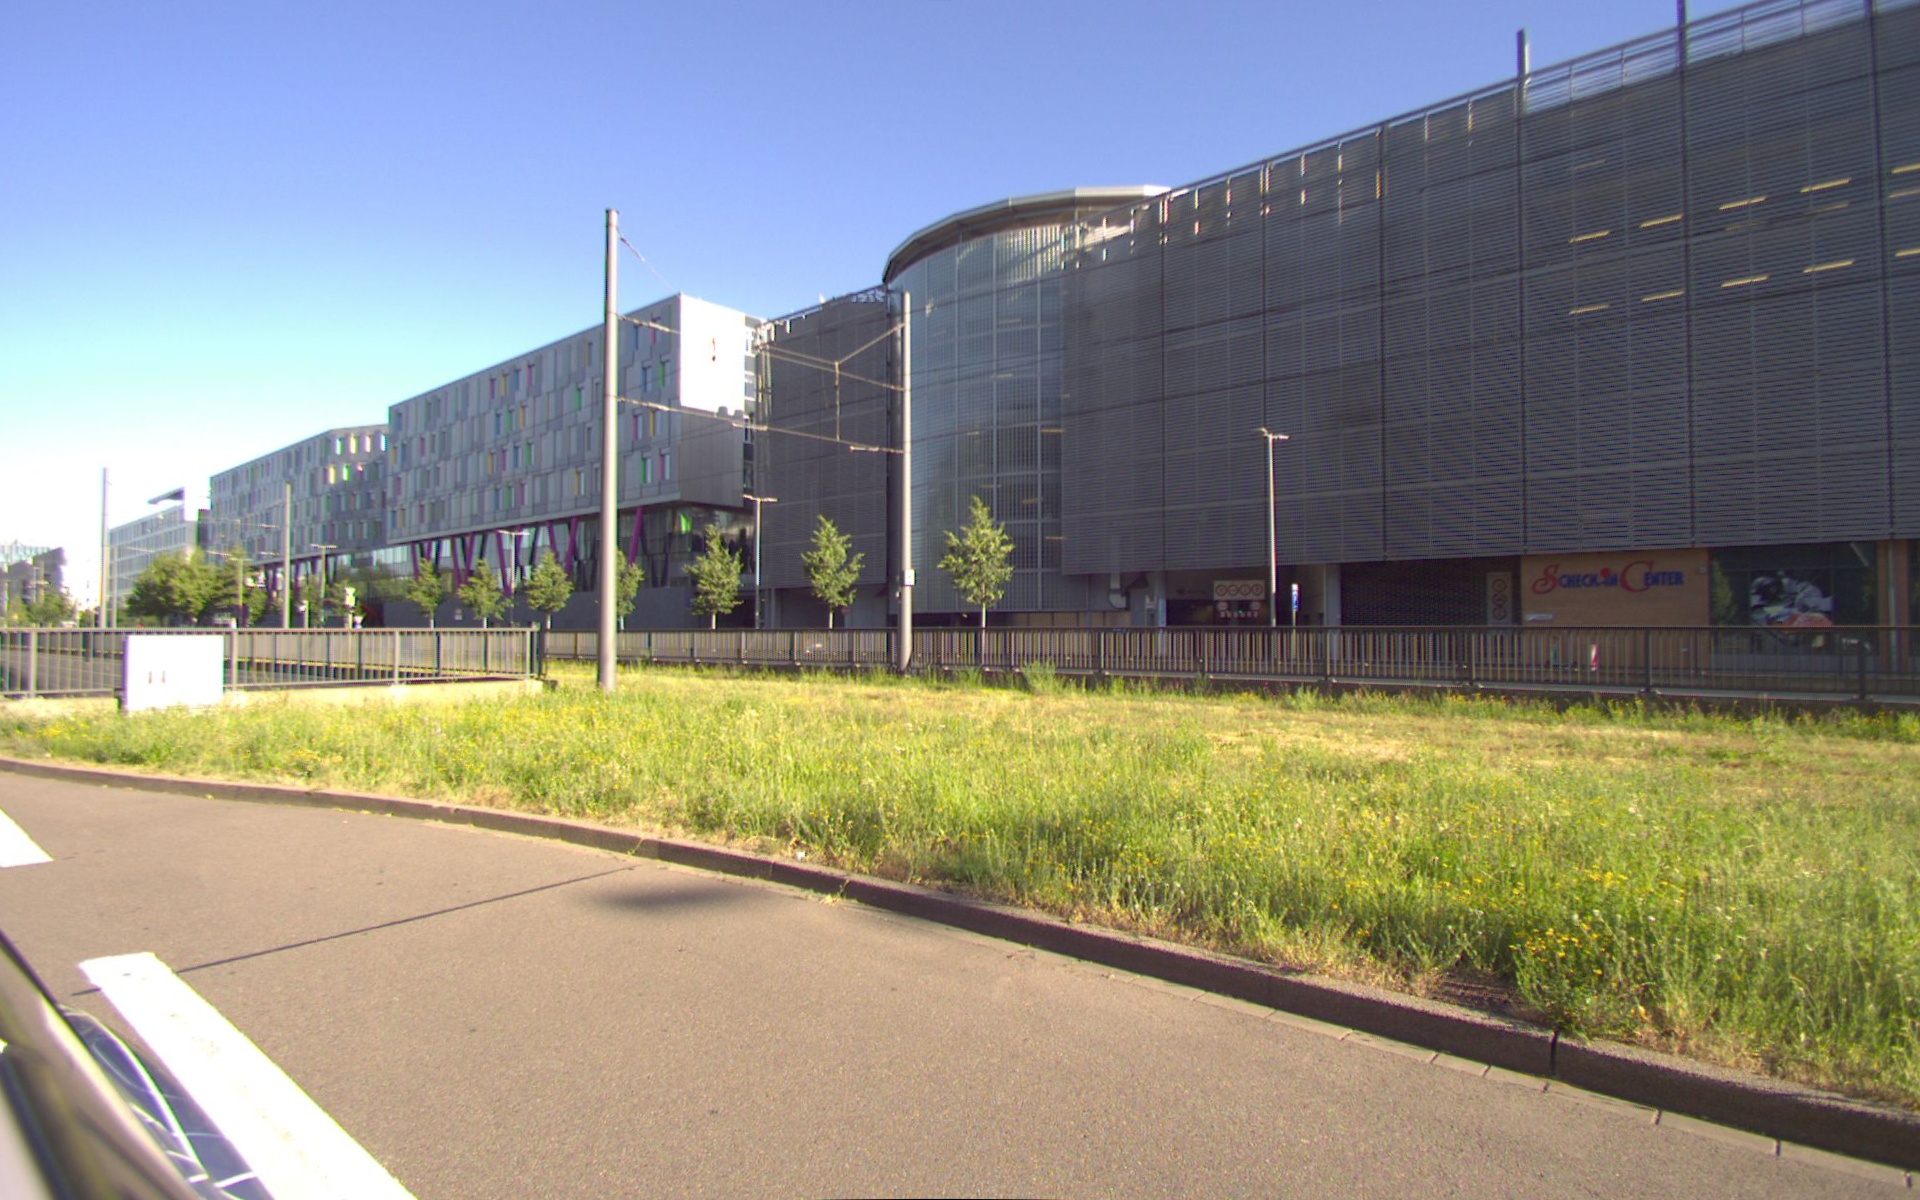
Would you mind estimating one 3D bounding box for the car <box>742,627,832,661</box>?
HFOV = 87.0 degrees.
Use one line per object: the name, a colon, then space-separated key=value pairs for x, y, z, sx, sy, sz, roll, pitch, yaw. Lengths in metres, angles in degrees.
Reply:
car: x=-8.187 y=2.038 z=47.694 sx=4.242 sy=1.512 sz=1.972 roll=-2 pitch=-2 yaw=42
